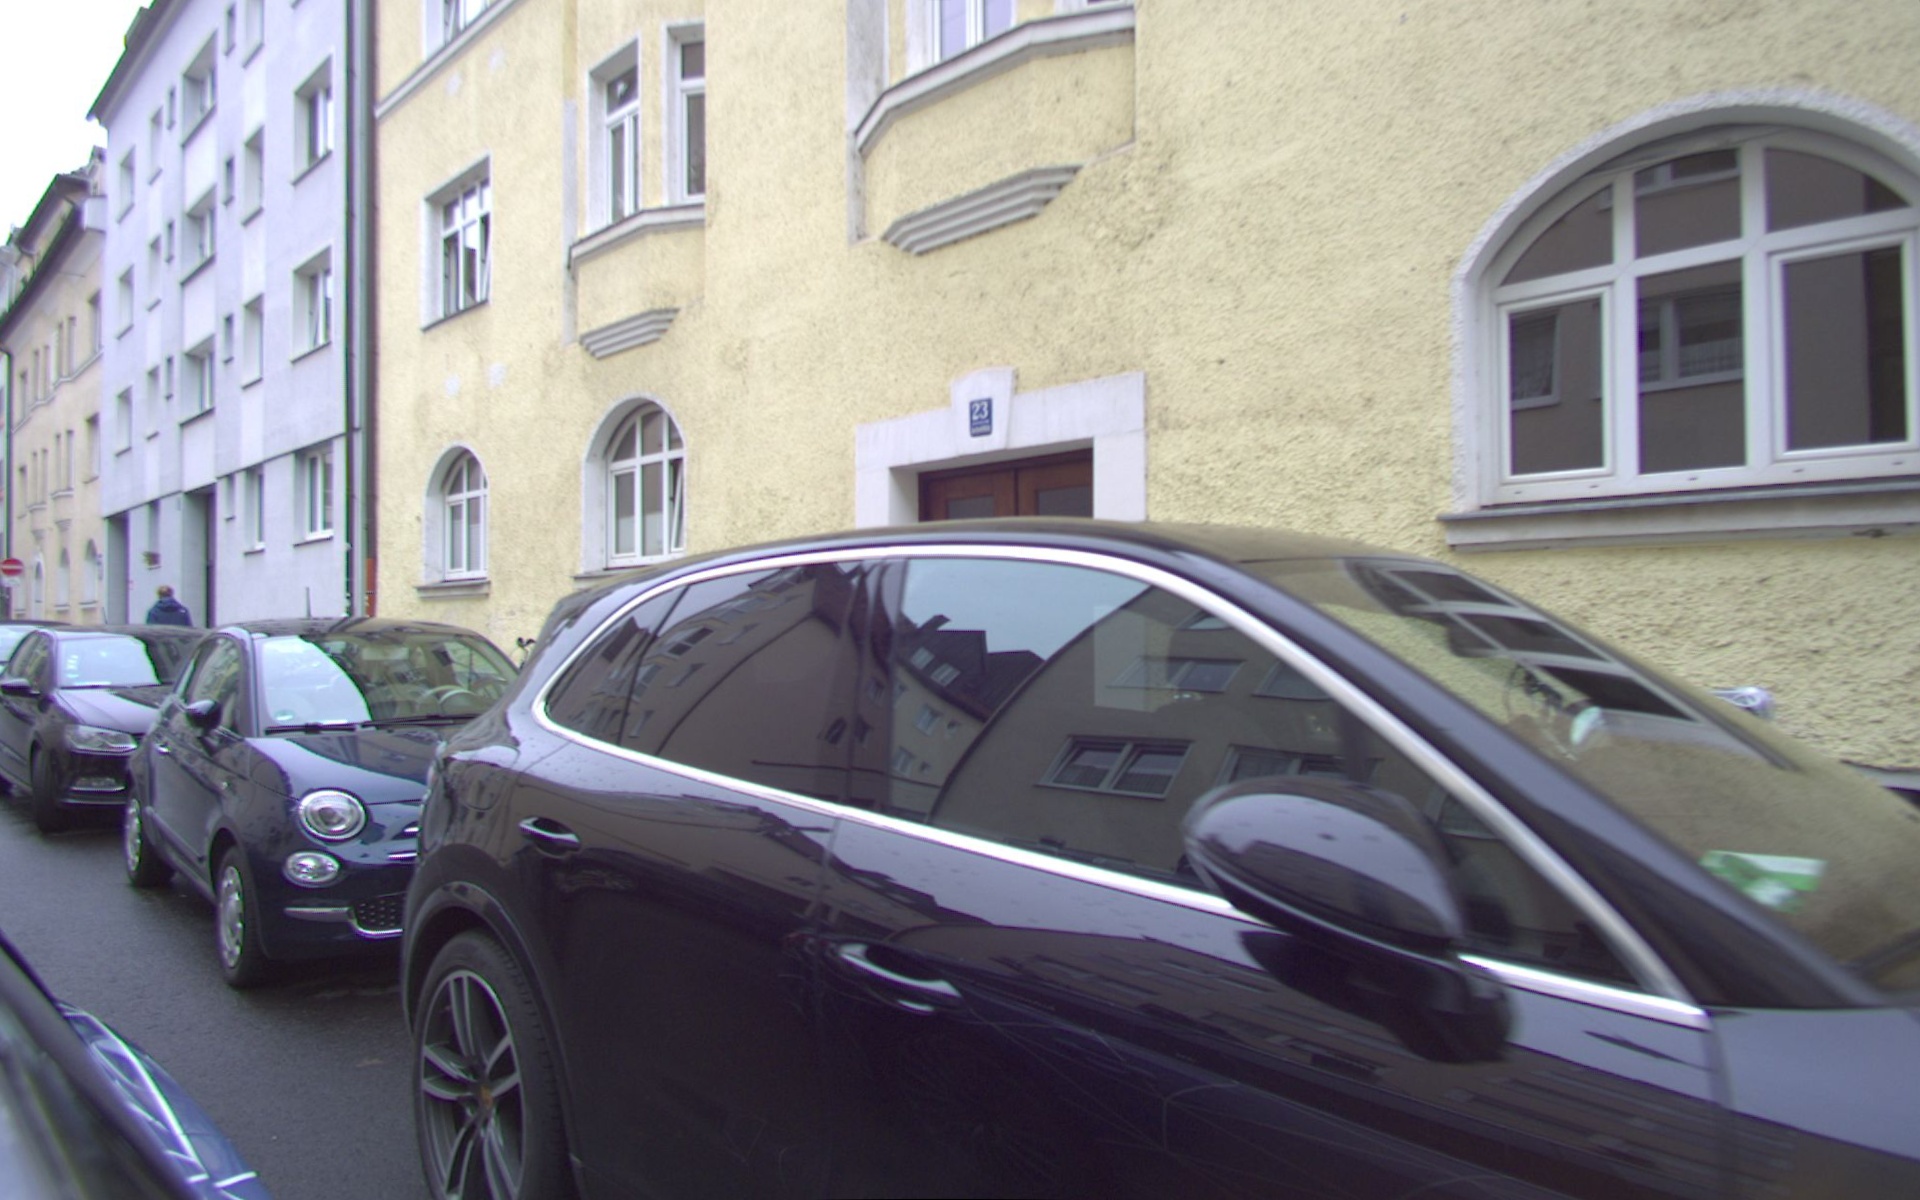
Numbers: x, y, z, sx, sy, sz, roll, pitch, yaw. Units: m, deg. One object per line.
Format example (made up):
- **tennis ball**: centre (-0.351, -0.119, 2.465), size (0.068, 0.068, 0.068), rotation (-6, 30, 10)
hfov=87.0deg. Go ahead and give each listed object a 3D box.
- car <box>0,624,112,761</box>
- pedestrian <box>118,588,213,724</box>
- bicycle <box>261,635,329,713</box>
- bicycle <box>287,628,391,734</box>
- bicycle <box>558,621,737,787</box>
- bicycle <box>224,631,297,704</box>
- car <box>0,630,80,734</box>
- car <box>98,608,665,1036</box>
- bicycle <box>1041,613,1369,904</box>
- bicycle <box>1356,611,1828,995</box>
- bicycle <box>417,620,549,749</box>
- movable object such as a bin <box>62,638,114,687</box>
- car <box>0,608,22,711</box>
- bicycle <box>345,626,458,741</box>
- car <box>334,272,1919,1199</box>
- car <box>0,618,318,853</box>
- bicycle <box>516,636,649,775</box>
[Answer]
- **car**: centre (-11.465, 1.023, 12.116), size (3.403, 1.471, 1.546), rotation (-1, -2, 42)
- **pedestrian**: centre (-10.931, 0.744, 13.925), size (1.067, 1.778, 0.830), rotation (-1, -1, 40)
- **bicycle**: centre (-9.451, 1.026, 14.360), size (1.569, 1.038, 0.391), rotation (-1, -1, 40)
- **bicycle**: centre (-7.997, 0.998, 13.003), size (1.735, 1.243, 0.630), rotation (-1, -1, 40)
- **bicycle**: centre (-2.645, 0.807, 8.459), size (1.735, 1.243, 0.587), rotation (-1, -1, 40)
- **bicycle**: centre (-10.774, 1.014, 15.568), size (1.569, 1.038, 0.540), rotation (-1, -1, 40)
- **car**: centre (-14.986, 1.167, 15.317), size (4.247, 1.397, 1.793), rotation (-1, -3, 40)
- **car**: centre (-3.159, 0.811, 5.246), size (3.475, 1.471, 1.546), rotation (-1, -2, 42)
- **bicycle**: centre (1.224, 0.724, 5.243), size (1.550, 1.288, 0.529), rotation (-1, 1, 40)
- **bicycle**: centre (2.513, 0.706, 4.149), size (1.550, 1.288, 0.529), rotation (-1, 1, 40)
- **bicycle**: centre (-5.030, 0.833, 10.632), size (1.735, 1.243, 0.587), rotation (-1, -1, 40)
- **movable object such as a bin**: centre (-20.592, 1.456, 23.899), size (0.622, 1.059, 0.799), rotation (-1, 2, 40)
- **car**: centre (-18.900, 1.029, 18.512), size (4.730, 1.783, 1.844), rotation (-1, -3, 39)
- **bicycle**: centre (-6.593, 0.938, 11.906), size (1.735, 1.243, 0.587), rotation (-1, -1, 40)
- **car**: centre (0.624, 0.664, 1.855), size (4.414, 1.672, 1.859), rotation (-1, -2, 42)
- **car**: centre (-6.748, 0.899, 8.167), size (3.760, 1.471, 1.547), rotation (-1, -2, 39)
- **bicycle**: centre (-3.607, 0.953, 9.603), size (1.631, 1.199, 0.434), rotation (-1, -1, 40)
